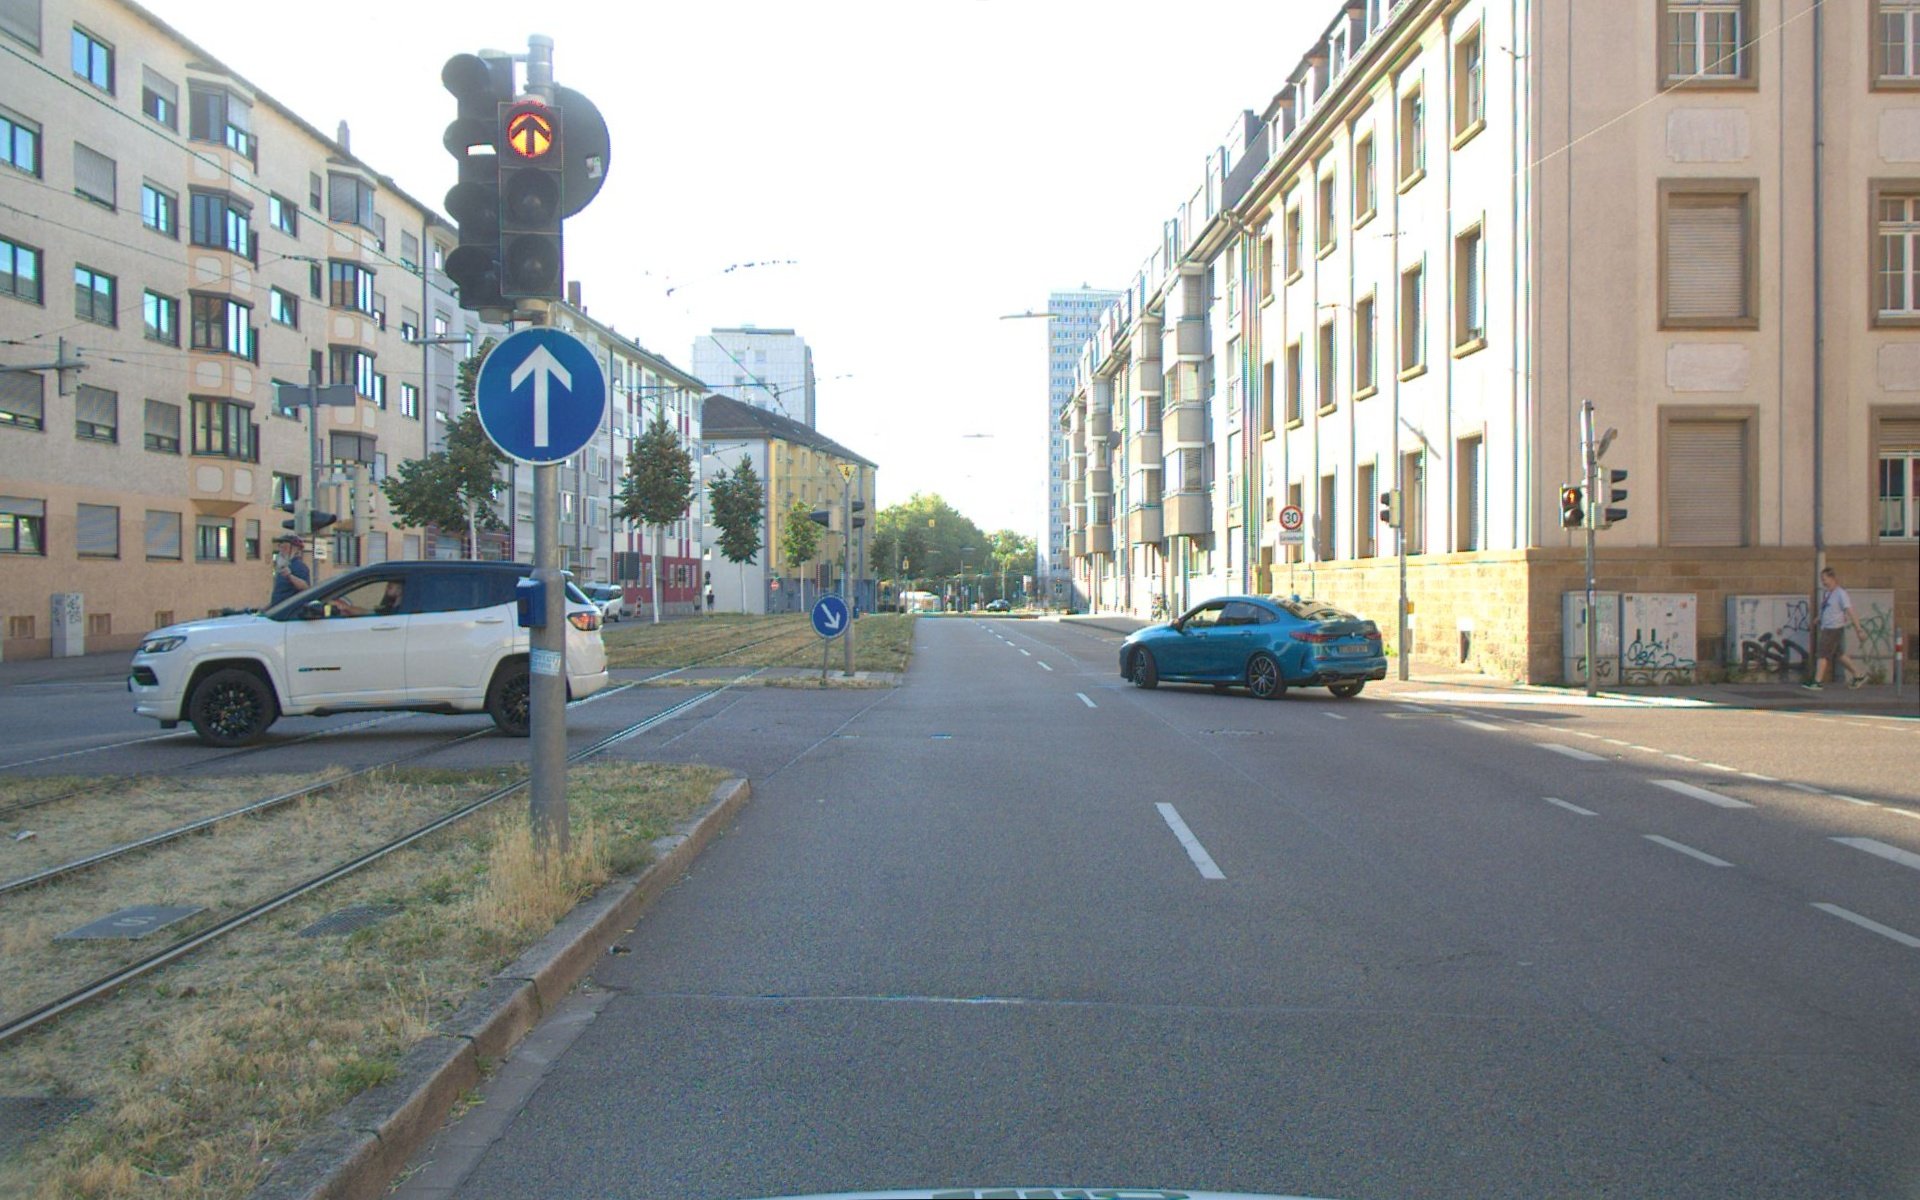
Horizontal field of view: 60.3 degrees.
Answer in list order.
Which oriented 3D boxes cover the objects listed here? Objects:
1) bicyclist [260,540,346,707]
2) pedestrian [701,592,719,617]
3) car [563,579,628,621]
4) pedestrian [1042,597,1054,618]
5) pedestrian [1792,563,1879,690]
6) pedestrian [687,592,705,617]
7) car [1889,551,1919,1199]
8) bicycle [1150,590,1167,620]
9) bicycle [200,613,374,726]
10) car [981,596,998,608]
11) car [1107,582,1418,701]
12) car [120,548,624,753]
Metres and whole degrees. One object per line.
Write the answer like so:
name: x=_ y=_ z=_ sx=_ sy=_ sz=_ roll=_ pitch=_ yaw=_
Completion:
bicyclist: x=-7.724 y=0.254 z=19.461 sx=0.792 sy=1.915 sz=0.651 roll=-1 pitch=2 yaw=-12
pedestrian: x=-17.062 y=0.330 z=112.899 sx=0.942 sy=1.699 sz=1.011 roll=1 pitch=0 yaw=4
car: x=-17.942 y=0.009 z=81.555 sx=1.952 sy=1.958 sz=4.543 roll=1 pitch=0 yaw=3
pedestrian: x=5.392 y=0.480 z=101.858 sx=0.677 sy=1.256 sz=0.736 roll=1 pitch=0 yaw=0
pedestrian: x=12.680 y=0.376 z=23.975 sx=0.818 sy=1.793 sz=0.824 roll=1 pitch=-1 yaw=-1
pedestrian: x=-17.921 y=0.314 z=112.347 sx=0.942 sy=1.723 sz=1.011 roll=1 pitch=0 yaw=4
car: x=2.876 y=0.722 z=1.472 sx=1.663 sy=1.580 sz=4.225 roll=1 pitch=0 yaw=-1
bicycle: x=7.442 y=0.199 z=62.076 sx=0.376 sy=1.115 sz=1.503 roll=-1 pitch=0 yaw=-3
bicycle: x=-7.870 y=0.803 z=19.394 sx=1.831 sy=1.279 sz=0.455 roll=0 pitch=1 yaw=-11
car: x=3.992 y=0.273 z=223.050 sx=1.857 sy=1.662 sz=4.751 roll=-1 pitch=0 yaw=7
car: x=4.335 y=0.548 z=24.292 sx=1.978 sy=1.581 sz=4.336 roll=1 pitch=0 yaw=-37
car: x=-5.574 y=0.412 z=16.051 sx=4.313 sy=1.765 sz=1.989 roll=-1 pitch=0 yaw=-19
